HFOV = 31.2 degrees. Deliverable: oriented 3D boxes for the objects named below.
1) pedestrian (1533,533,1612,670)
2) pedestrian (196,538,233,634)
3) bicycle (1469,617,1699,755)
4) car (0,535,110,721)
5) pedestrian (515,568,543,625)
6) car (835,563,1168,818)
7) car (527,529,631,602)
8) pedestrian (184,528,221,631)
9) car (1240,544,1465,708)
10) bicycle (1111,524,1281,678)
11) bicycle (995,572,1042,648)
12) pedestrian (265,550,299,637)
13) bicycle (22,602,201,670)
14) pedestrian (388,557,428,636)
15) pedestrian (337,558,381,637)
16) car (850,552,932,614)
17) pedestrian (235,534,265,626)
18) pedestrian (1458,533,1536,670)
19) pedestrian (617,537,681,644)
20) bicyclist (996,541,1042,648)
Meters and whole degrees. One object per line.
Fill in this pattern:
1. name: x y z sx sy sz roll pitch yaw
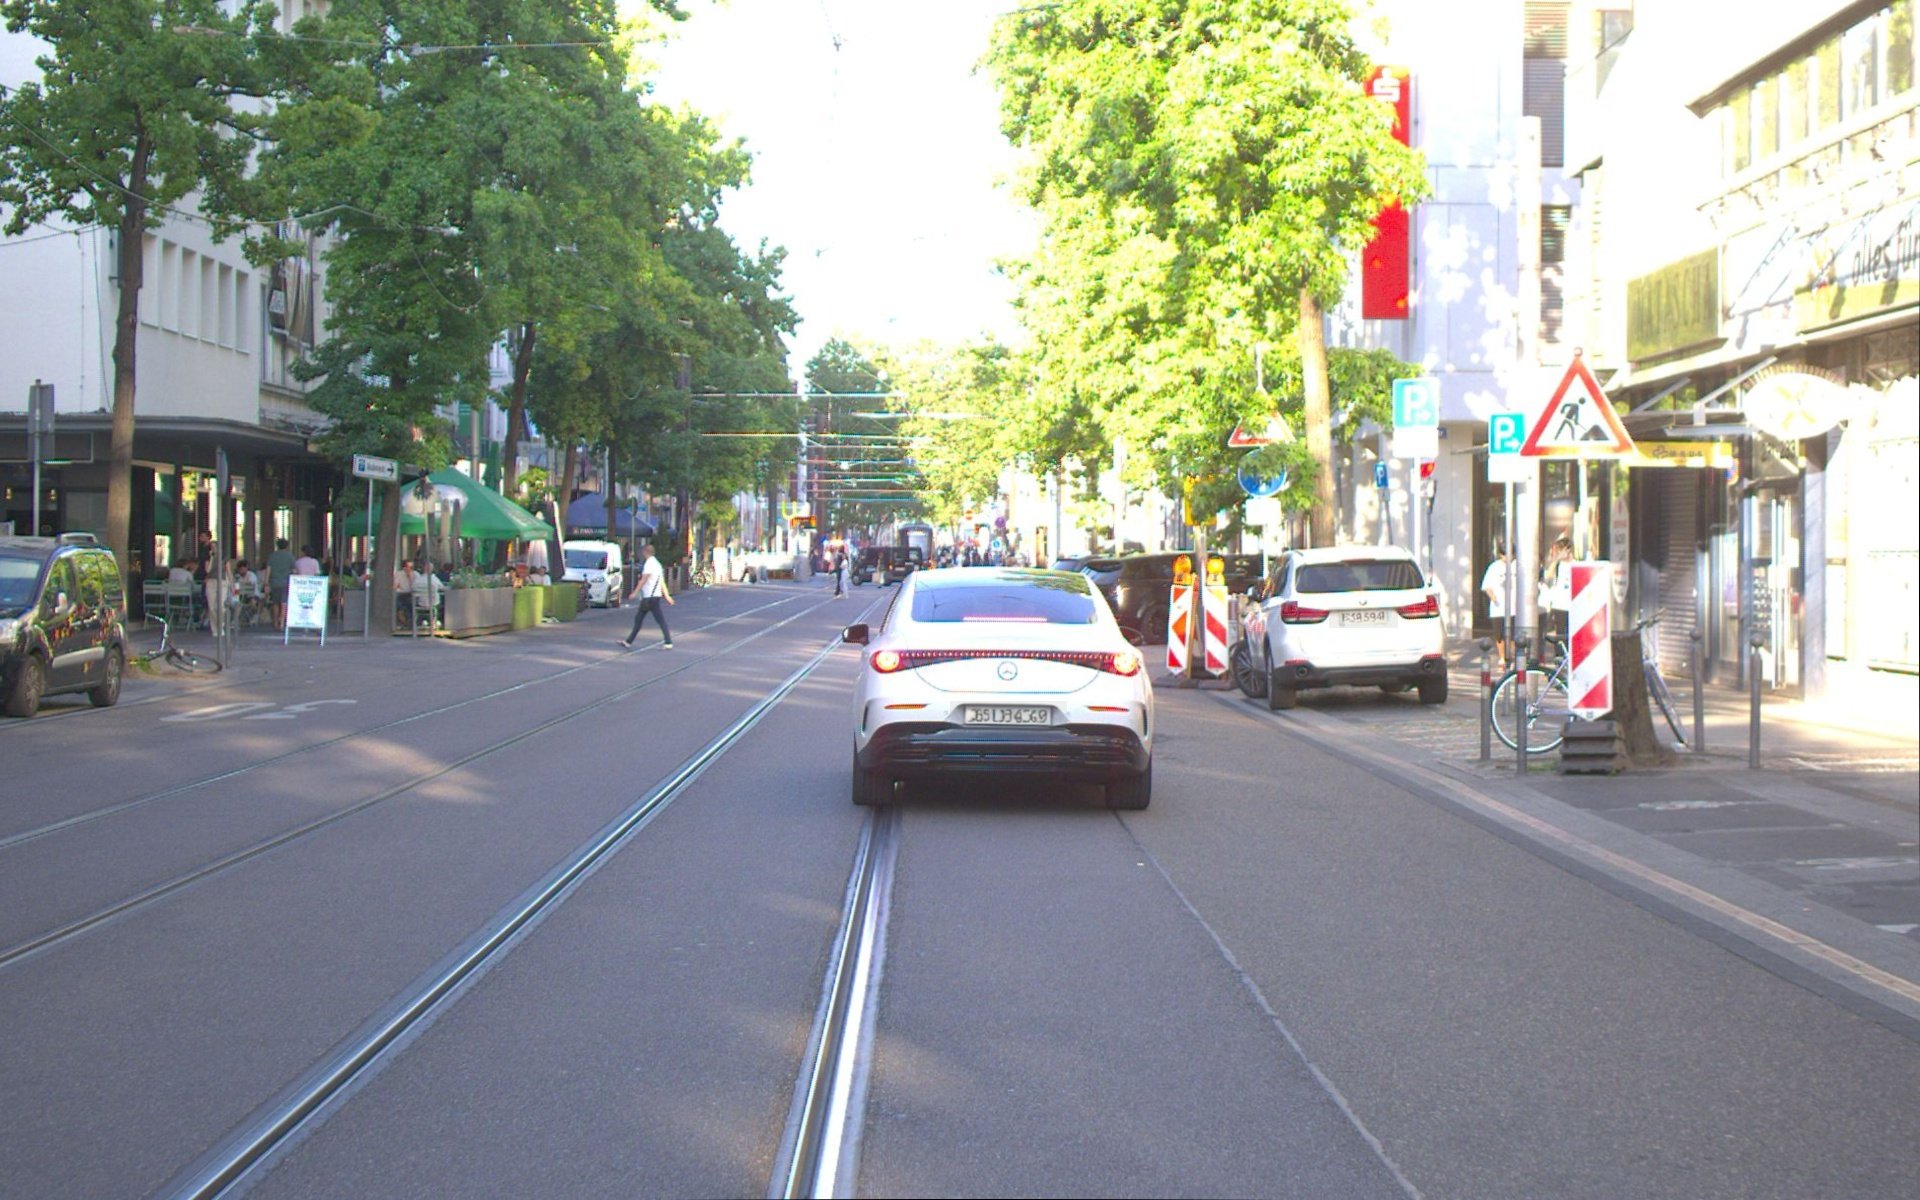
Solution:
1. pedestrian: 7.993 0.016 44.873 0.799 1.768 0.683 0 1 -12
2. pedestrian: -12.994 -0.247 59.953 0.517 1.647 0.650 0 1 -1
3. bicycle: 4.919 0.672 27.151 1.723 1.058 0.581 0 1 3
4. car: -9.827 0.249 34.298 1.553 1.789 3.166 0 1 8
5. pedestrian: -9.499 -0.082 75.822 0.517 1.229 0.650 0 1 1
6. car: 0.173 0.503 21.999 1.868 1.464 4.043 0 1 -3
7. car: -10.704 -0.971 96.758 1.994 2.007 3.999 0 1 8
8. pedestrian: -13.662 -0.376 62.017 0.517 1.849 0.650 0 1 -1
9. car: 4.297 0.243 38.240 1.993 1.722 4.241 0 1 0
10. bicycle: 3.160 -0.005 46.788 1.993 2.007 4.000 0 0 -1
11. bicycle: 0.931 0.154 54.969 0.740 1.184 2.160 0 0 1
12. pedestrian: -12.555 -0.127 63.665 0.517 1.610 0.650 0 1 -1
13. bicycle: -11.000 0.457 44.553 2.255 0.827 0.716 1 1 22
14. pedestrian: -10.500 -0.070 65.435 0.517 1.473 0.650 -2 0 -28
15. pedestrian: -11.187 -0.046 64.029 0.569 1.459 0.649 1 1 19
16. car: -3.464 -0.871 174.164 4.038 3.103 8.431 0 0 -1
17. pedestrian: -13.811 -0.399 66.857 0.517 1.775 0.609 0 1 -7
18. pedestrian: 7.013 0.016 44.942 0.799 1.768 0.683 0 1 -12
19. pedestrian: -5.185 -0.161 57.258 0.919 1.768 0.874 0 1 -15
20. bicyclist: 0.935 -0.087 54.794 0.724 1.697 0.811 0 0 0
